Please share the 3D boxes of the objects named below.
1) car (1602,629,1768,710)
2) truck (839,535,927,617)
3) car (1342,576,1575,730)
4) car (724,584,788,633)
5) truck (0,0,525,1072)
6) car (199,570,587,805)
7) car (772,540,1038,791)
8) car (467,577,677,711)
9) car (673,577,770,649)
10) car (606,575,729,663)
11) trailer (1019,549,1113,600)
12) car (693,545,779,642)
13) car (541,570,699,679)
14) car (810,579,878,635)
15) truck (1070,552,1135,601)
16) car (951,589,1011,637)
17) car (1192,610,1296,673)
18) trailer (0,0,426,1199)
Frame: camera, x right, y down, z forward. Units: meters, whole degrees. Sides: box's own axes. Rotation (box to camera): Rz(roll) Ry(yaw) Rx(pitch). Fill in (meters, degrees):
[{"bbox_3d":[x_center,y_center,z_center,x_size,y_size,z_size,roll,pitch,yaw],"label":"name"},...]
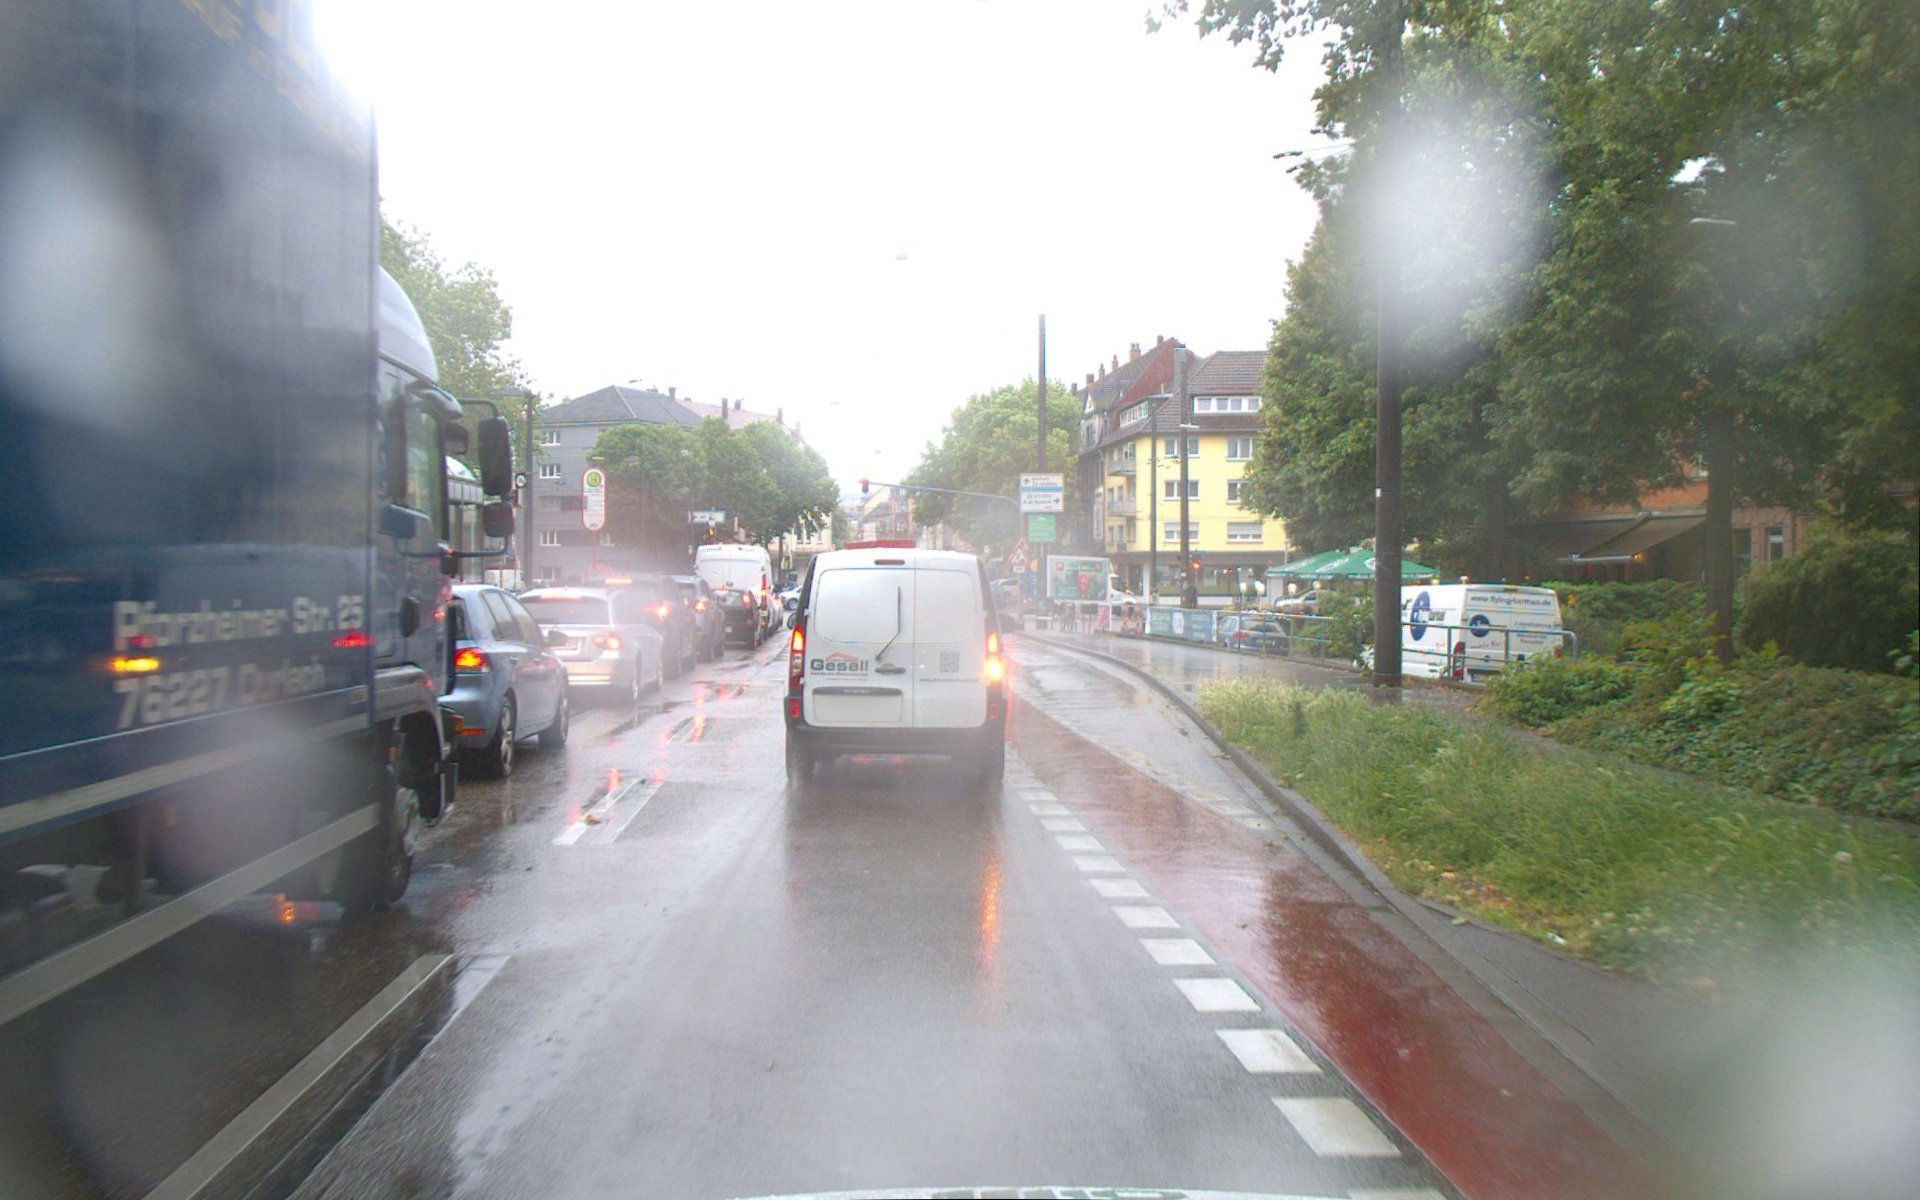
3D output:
[{"bbox_3d":[15.543,1.443,35.416,3.632,1.462,1.687,-2,1,-37],"label":"car"},{"bbox_3d":[-5.146,-1.573,107.746,3.224,4.985,11.354,-1,1,-15],"label":"truck"},{"bbox_3d":[9.331,0.873,31.591,2.138,2.576,5.770,-1,1,-6],"label":"car"},{"bbox_3d":[-7.238,0.273,58.997,1.954,1.624,4.608,2,0,-4],"label":"car"},{"bbox_3d":[-3.538,-0.547,7.080,2.530,3.972,3.996,1,0,-5],"label":"truck"},{"bbox_3d":[-4.400,0.566,13.571,1.954,1.564,4.130,-1,1,-4],"label":"car"},{"bbox_3d":[-0.505,0.497,13.812,1.920,1.808,3.567,1,-1,-4],"label":"car"},{"bbox_3d":[-4.909,0.488,21.523,1.954,1.498,4.263,2,1,-4],"label":"car"},{"bbox_3d":[-5.698,0.293,40.039,1.954,1.606,4.288,2,0,-4],"label":"car"},{"bbox_3d":[-5.803,0.349,33.288,1.954,1.606,4.288,2,0,-4],"label":"car"},{"bbox_3d":[5.175,-1.188,80.309,4.631,2.357,1.968,1,-1,-43],"label":"trailer"},{"bbox_3d":[-6.101,-0.172,45.541,1.954,2.485,4.608,2,0,-4],"label":"car"},{"bbox_3d":[-5.513,0.370,27.349,1.954,1.606,4.288,2,0,-4],"label":"car"},{"bbox_3d":[-3.272,0.200,47.166,1.724,1.494,3.532,1,0,-1],"label":"car"},{"bbox_3d":[7.082,-1.148,82.058,2.627,2.339,1.969,1,-1,-43],"label":"truck"},{"bbox_3d":[0.694,0.425,56.169,1.952,1.569,4.000,0,0,0],"label":"car"},{"bbox_3d":[7.830,1.102,45.926,1.787,1.516,4.349,-1,1,-5],"label":"car"},{"bbox_3d":[-3.190,-0.509,2.938,2.540,3.968,7.629,1,0,-5],"label":"trailer"}]
